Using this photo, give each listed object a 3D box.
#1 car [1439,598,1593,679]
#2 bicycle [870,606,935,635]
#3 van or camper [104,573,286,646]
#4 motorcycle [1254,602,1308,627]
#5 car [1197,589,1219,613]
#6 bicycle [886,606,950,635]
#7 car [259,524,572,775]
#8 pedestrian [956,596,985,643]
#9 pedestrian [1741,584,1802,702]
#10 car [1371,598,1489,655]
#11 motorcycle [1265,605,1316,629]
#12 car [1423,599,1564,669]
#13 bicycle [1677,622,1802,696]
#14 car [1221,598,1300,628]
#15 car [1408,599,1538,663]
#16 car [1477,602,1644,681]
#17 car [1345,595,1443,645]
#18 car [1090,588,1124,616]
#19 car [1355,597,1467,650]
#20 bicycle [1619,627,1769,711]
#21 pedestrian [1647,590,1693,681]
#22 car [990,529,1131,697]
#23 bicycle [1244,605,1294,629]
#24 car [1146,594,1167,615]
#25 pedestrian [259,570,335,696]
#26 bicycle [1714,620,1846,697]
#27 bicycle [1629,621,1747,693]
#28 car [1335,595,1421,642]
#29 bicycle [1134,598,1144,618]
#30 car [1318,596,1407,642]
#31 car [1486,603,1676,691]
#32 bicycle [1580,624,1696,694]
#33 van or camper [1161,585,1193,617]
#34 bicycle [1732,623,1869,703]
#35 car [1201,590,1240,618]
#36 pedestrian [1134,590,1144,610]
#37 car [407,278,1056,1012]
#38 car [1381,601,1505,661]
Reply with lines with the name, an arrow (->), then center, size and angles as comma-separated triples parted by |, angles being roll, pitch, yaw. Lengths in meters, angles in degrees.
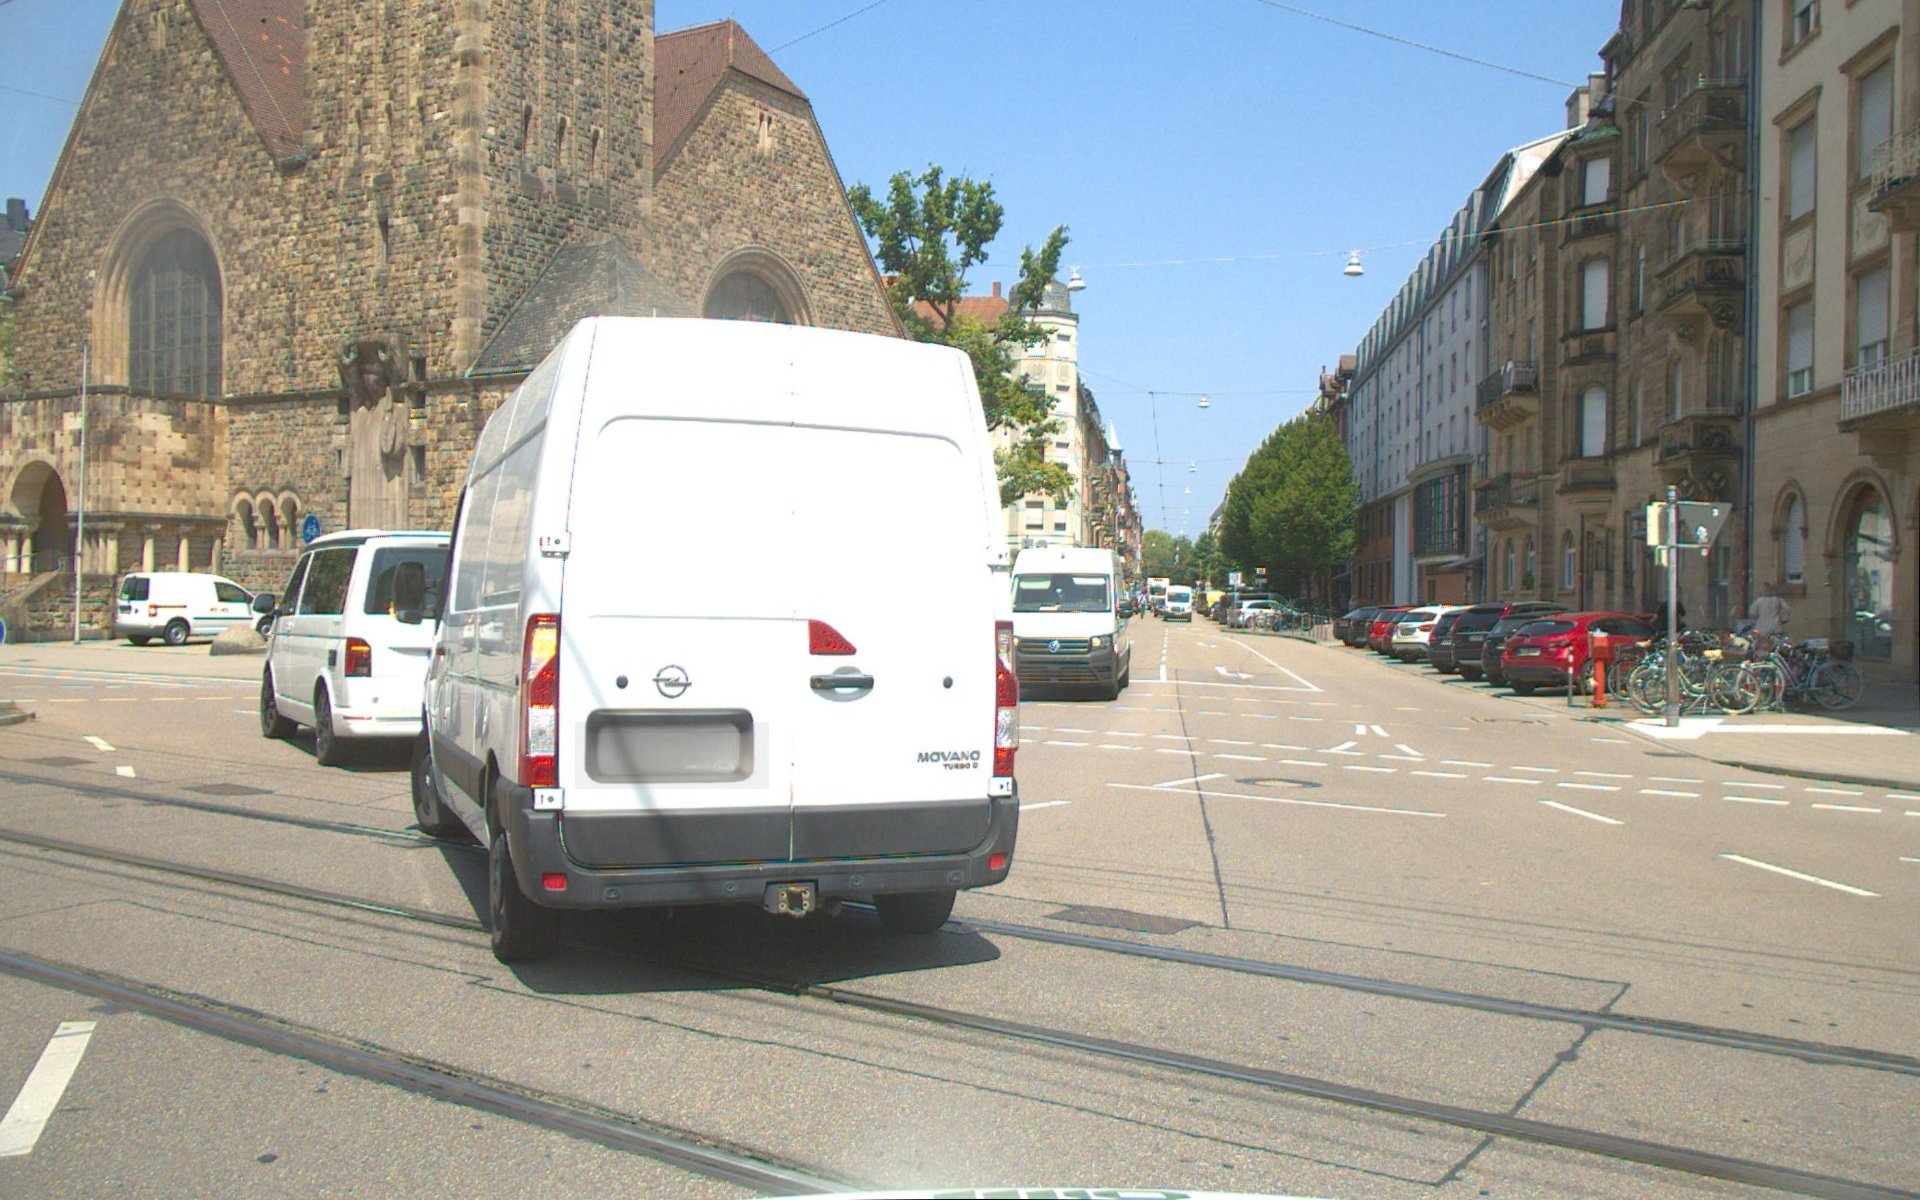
car -> 12.413, 0.839, 36.889 | 3.186, 1.694, 1.599 | -1, -1, -33
bicycle -> -2.132, 0.759, 61.096 | 2.447, 1.029, 0.704 | 1, 0, 34
van or camper -> -20.132, 0.256, 43.677 | 1.956, 1.839, 3.993 | 0, 0, 29
motorcycle -> 16.118, 0.726, 83.037 | 2.652, 1.195, 0.776 | 1, -1, 10
car -> 22.362, 0.096, 149.137 | 1.866, 2.049, 4.003 | 0, -1, 10
bicycle -> -1.569, 0.770, 62.094 | 2.447, 1.029, 0.704 | 1, -1, 34
car -> -5.168, 0.397, 15.317 | 1.897, 1.978, 4.220 | 1, 0, -30
pedestrian -> 0.350, 0.652, 56.252 | 0.704, 1.586, 0.791 | 0, -1, 25
pedestrian -> 15.028, 0.784, 30.661 | 0.846, 2.151, 1.102 | 1, -1, 17
car -> 14.093, 0.791, 49.601 | 3.179, 1.602, 1.602 | -1, -1, -28
motorcycle -> 16.777, 0.875, 83.948 | 2.535, 1.195, 0.683 | 1, -1, 10
car -> 13.038, 0.814, 40.426 | 3.186, 1.602, 1.599 | -1, -1, -33
bicycle -> 12.533, 0.946, 26.627 | 1.762, 1.171, 0.565 | -1, -1, 21
car -> 16.544, 0.701, 91.130 | 3.922, 1.576, 1.742 | 1, 0, -17
car -> 13.617, 0.825, 43.898 | 3.186, 1.602, 1.599 | -1, -1, -33
car -> 12.330, 0.843, 33.942 | 3.186, 1.505, 1.599 | -1, -1, -33
car -> 14.774, 0.660, 56.242 | 3.192, 1.602, 1.595 | -1, -1, -37
car -> 9.546, 0.128, 107.540 | 1.913, 1.780, 4.000 | 0, 0, 1
car -> 14.267, 0.745, 52.327 | 3.179, 1.602, 1.602 | -1, -1, -28
bicycle -> 10.952, 1.014, 24.728 | 2.011, 1.171, 0.565 | 1, 0, 21
pedestrian -> 16.313, 0.797, 38.042 | 0.846, 2.049, 1.102 | 1, -1, 17
car -> 1.944, 0.230, 29.758 | 2.026, 2.683, 6.638 | 0, 0, 8
bicycle -> 16.214, 0.883, 86.829 | 2.547, 1.195, 0.680 | 1, -1, -15
car -> 19.910, 0.454, 167.560 | 1.951, 2.049, 4.003 | 1, 0, 9
pedestrian -> -9.979, 0.487, 24.910 | 0.818, 1.854, 0.741 | 0, -1, 39
bicycle -> 12.698, 0.898, 25.657 | 1.762, 1.171, 0.565 | -1, -1, 21
bicycle -> 12.142, 0.946, 27.638 | 1.762, 1.171, 0.565 | -1, -1, 21
car -> 14.921, 0.651, 58.991 | 3.201, 1.602, 1.472 | -1, -2, -43
bicycle -> 13.242, 0.583, 122.426 | 0.658, 1.383, 2.070 | 0, 0, 5
car -> 15.013, 0.704, 61.612 | 3.195, 1.602, 1.594 | -1, -1, -39
car -> 11.645, 0.862, 31.027 | 3.178, 1.505, 1.602 | -1, -1, -27
bicycle -> 11.729, 1.017, 28.638 | 1.762, 1.171, 0.565 | -1, -1, 2
van or camper -> 15.411, 0.042, 117.700 | 1.993, 2.179, 4.582 | 1, 0, 4
bicycle -> 12.553, 0.932, 24.749 | 1.762, 1.171, 0.565 | -1, -1, 21
car -> 16.911, 0.228, 107.624 | 1.913, 1.780, 4.000 | 0, 0, 1
pedestrian -> 13.252, 0.002, 122.361 | 0.715, 1.445, 0.799 | 0, 0, 5
car -> -1.532, 0.167, 8.382 | 2.088, 2.502, 5.020 | 1, 0, -22
car -> 13.649, 0.874, 46.731 | 3.181, 1.602, 1.601 | -1, -1, -30
